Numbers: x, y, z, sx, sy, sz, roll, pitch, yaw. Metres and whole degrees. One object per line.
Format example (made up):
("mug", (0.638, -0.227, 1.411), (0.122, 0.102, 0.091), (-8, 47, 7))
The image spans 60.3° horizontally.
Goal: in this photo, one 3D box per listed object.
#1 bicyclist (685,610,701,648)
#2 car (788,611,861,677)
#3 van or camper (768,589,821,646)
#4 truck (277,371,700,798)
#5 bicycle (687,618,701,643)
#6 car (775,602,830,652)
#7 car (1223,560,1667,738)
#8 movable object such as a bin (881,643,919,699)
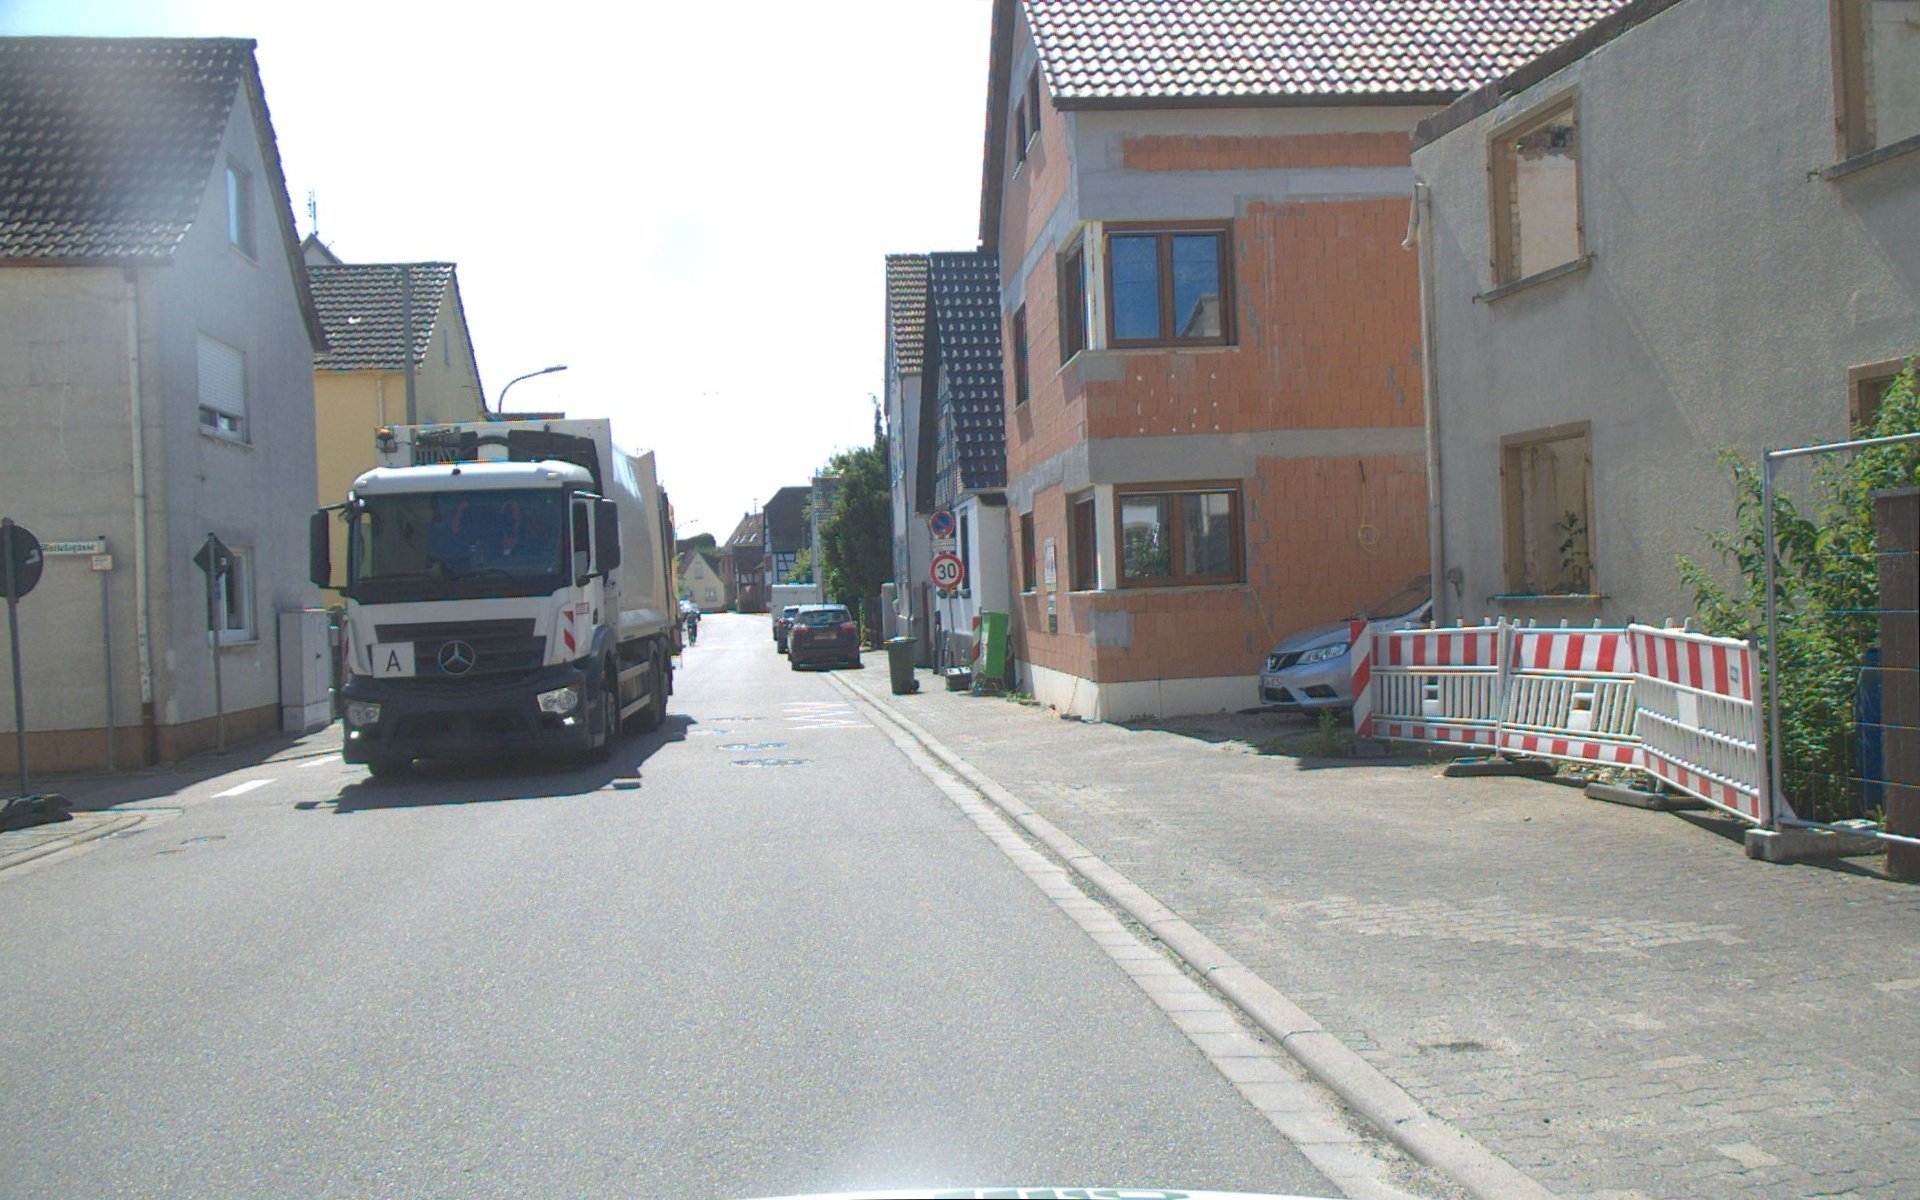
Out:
("bicyclist", (-12.868, 1.381, 79.687), (0.691, 1.802, 0.623), (-2, 0, -11))
("car", (-3.642, 1.121, 43.735), (1.763, 1.587, 4.625), (-2, 0, -6))
("van or camper", (-8.422, 0.880, 83.823), (2.474, 2.744, 4.547), (-2, 0, -8))
("truck", (-5.180, -0.130, 20.634), (2.642, 3.815, 10.861), (-2, 0, -3))
("bicycle", (-12.813, 1.474, 79.565), (0.578, 1.168, 1.944), (-3, 0, -10))
("car", (-5.673, 0.932, 59.838), (1.758, 1.659, 4.357), (-2, 0, -3))
("car", (4.995, 0.474, 17.255), (4.017, 1.533, 1.864), (-3, 0, -13))
("movable object such as a bin", (-1.046, 1.235, 28.808), (0.526, 0.929, 0.552), (-2, -1, 10))
